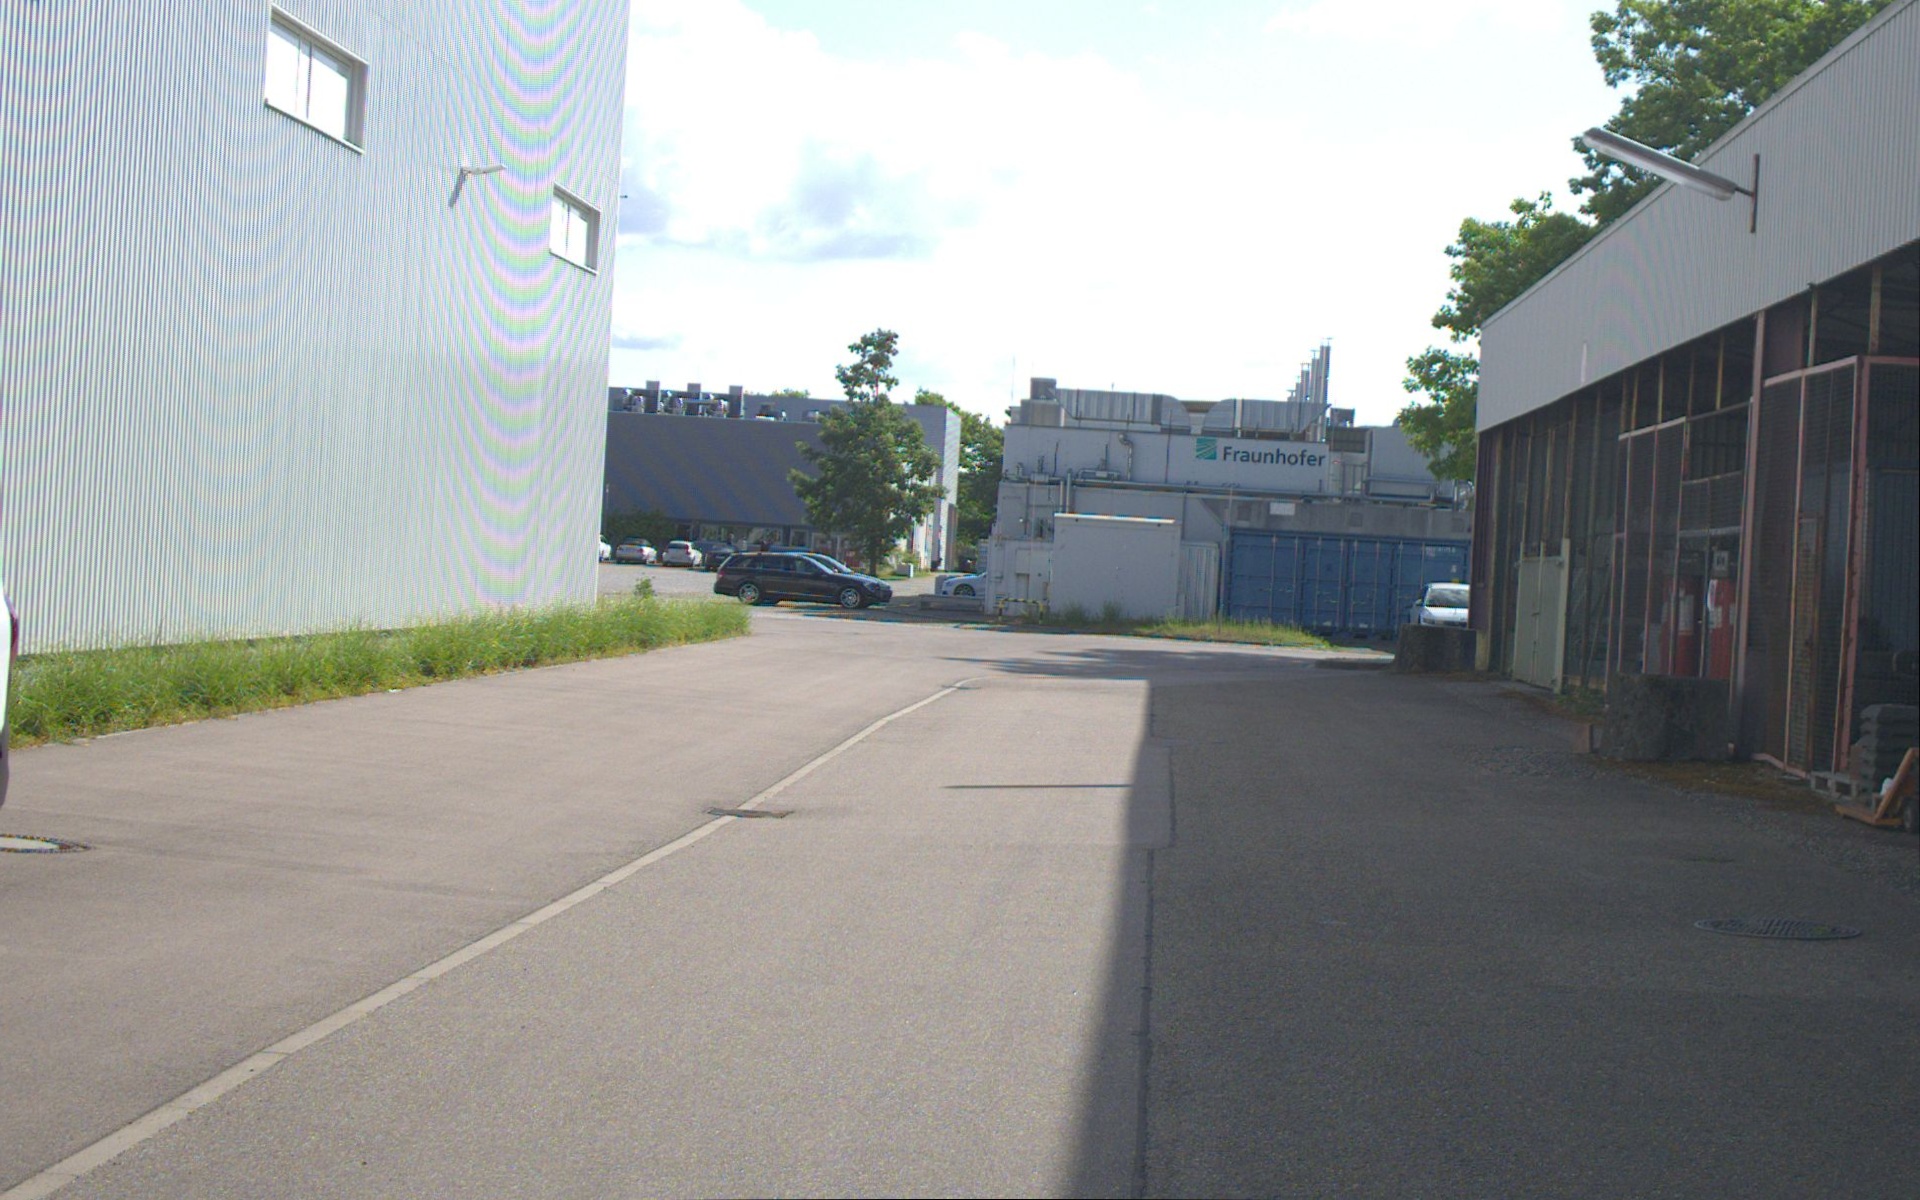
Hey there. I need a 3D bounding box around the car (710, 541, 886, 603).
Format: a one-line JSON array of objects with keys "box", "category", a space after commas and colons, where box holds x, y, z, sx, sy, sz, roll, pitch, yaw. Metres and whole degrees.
[{"box": [-4.401, -0.772, 93.997, 4.527, 1.503, 1.908, 2, 1, 5], "category": "car"}]

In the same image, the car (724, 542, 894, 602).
[{"box": [-4.254, -0.786, 97.231, 4.527, 1.503, 1.908, 2, 1, 5], "category": "car"}]

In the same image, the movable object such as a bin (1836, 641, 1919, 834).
[{"box": [5.994, 0.868, 21.969, 0.582, 1.160, 1.237, 2, 1, 7], "category": "movable object such as a bin"}]

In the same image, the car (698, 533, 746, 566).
[{"box": [-13.140, -2.771, 190.118, 2.193, 1.730, 4.000, 1, 0, 3], "category": "car"}]

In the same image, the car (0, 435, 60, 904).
[{"box": [-4.742, 0.220, 11.694, 1.891, 1.839, 4.358, 5, 1, 3], "category": "car"}]

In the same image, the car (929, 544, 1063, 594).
[{"box": [1.292, -1.100, 121.293, 4.527, 1.503, 1.908, 3, 1, 4], "category": "car"}]

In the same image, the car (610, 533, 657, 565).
[{"box": [-18.198, -2.841, 191.799, 1.994, 1.730, 4.000, 1, 0, 3], "category": "car"}]

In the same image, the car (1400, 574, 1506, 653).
[{"box": [11.481, 0.284, 80.245, 1.994, 1.580, 4.173, 3, 2, 3], "category": "car"}]

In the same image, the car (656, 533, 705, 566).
[{"box": [-15.597, -2.810, 191.983, 2.193, 1.730, 4.000, 1, 0, 3], "category": "car"}]
